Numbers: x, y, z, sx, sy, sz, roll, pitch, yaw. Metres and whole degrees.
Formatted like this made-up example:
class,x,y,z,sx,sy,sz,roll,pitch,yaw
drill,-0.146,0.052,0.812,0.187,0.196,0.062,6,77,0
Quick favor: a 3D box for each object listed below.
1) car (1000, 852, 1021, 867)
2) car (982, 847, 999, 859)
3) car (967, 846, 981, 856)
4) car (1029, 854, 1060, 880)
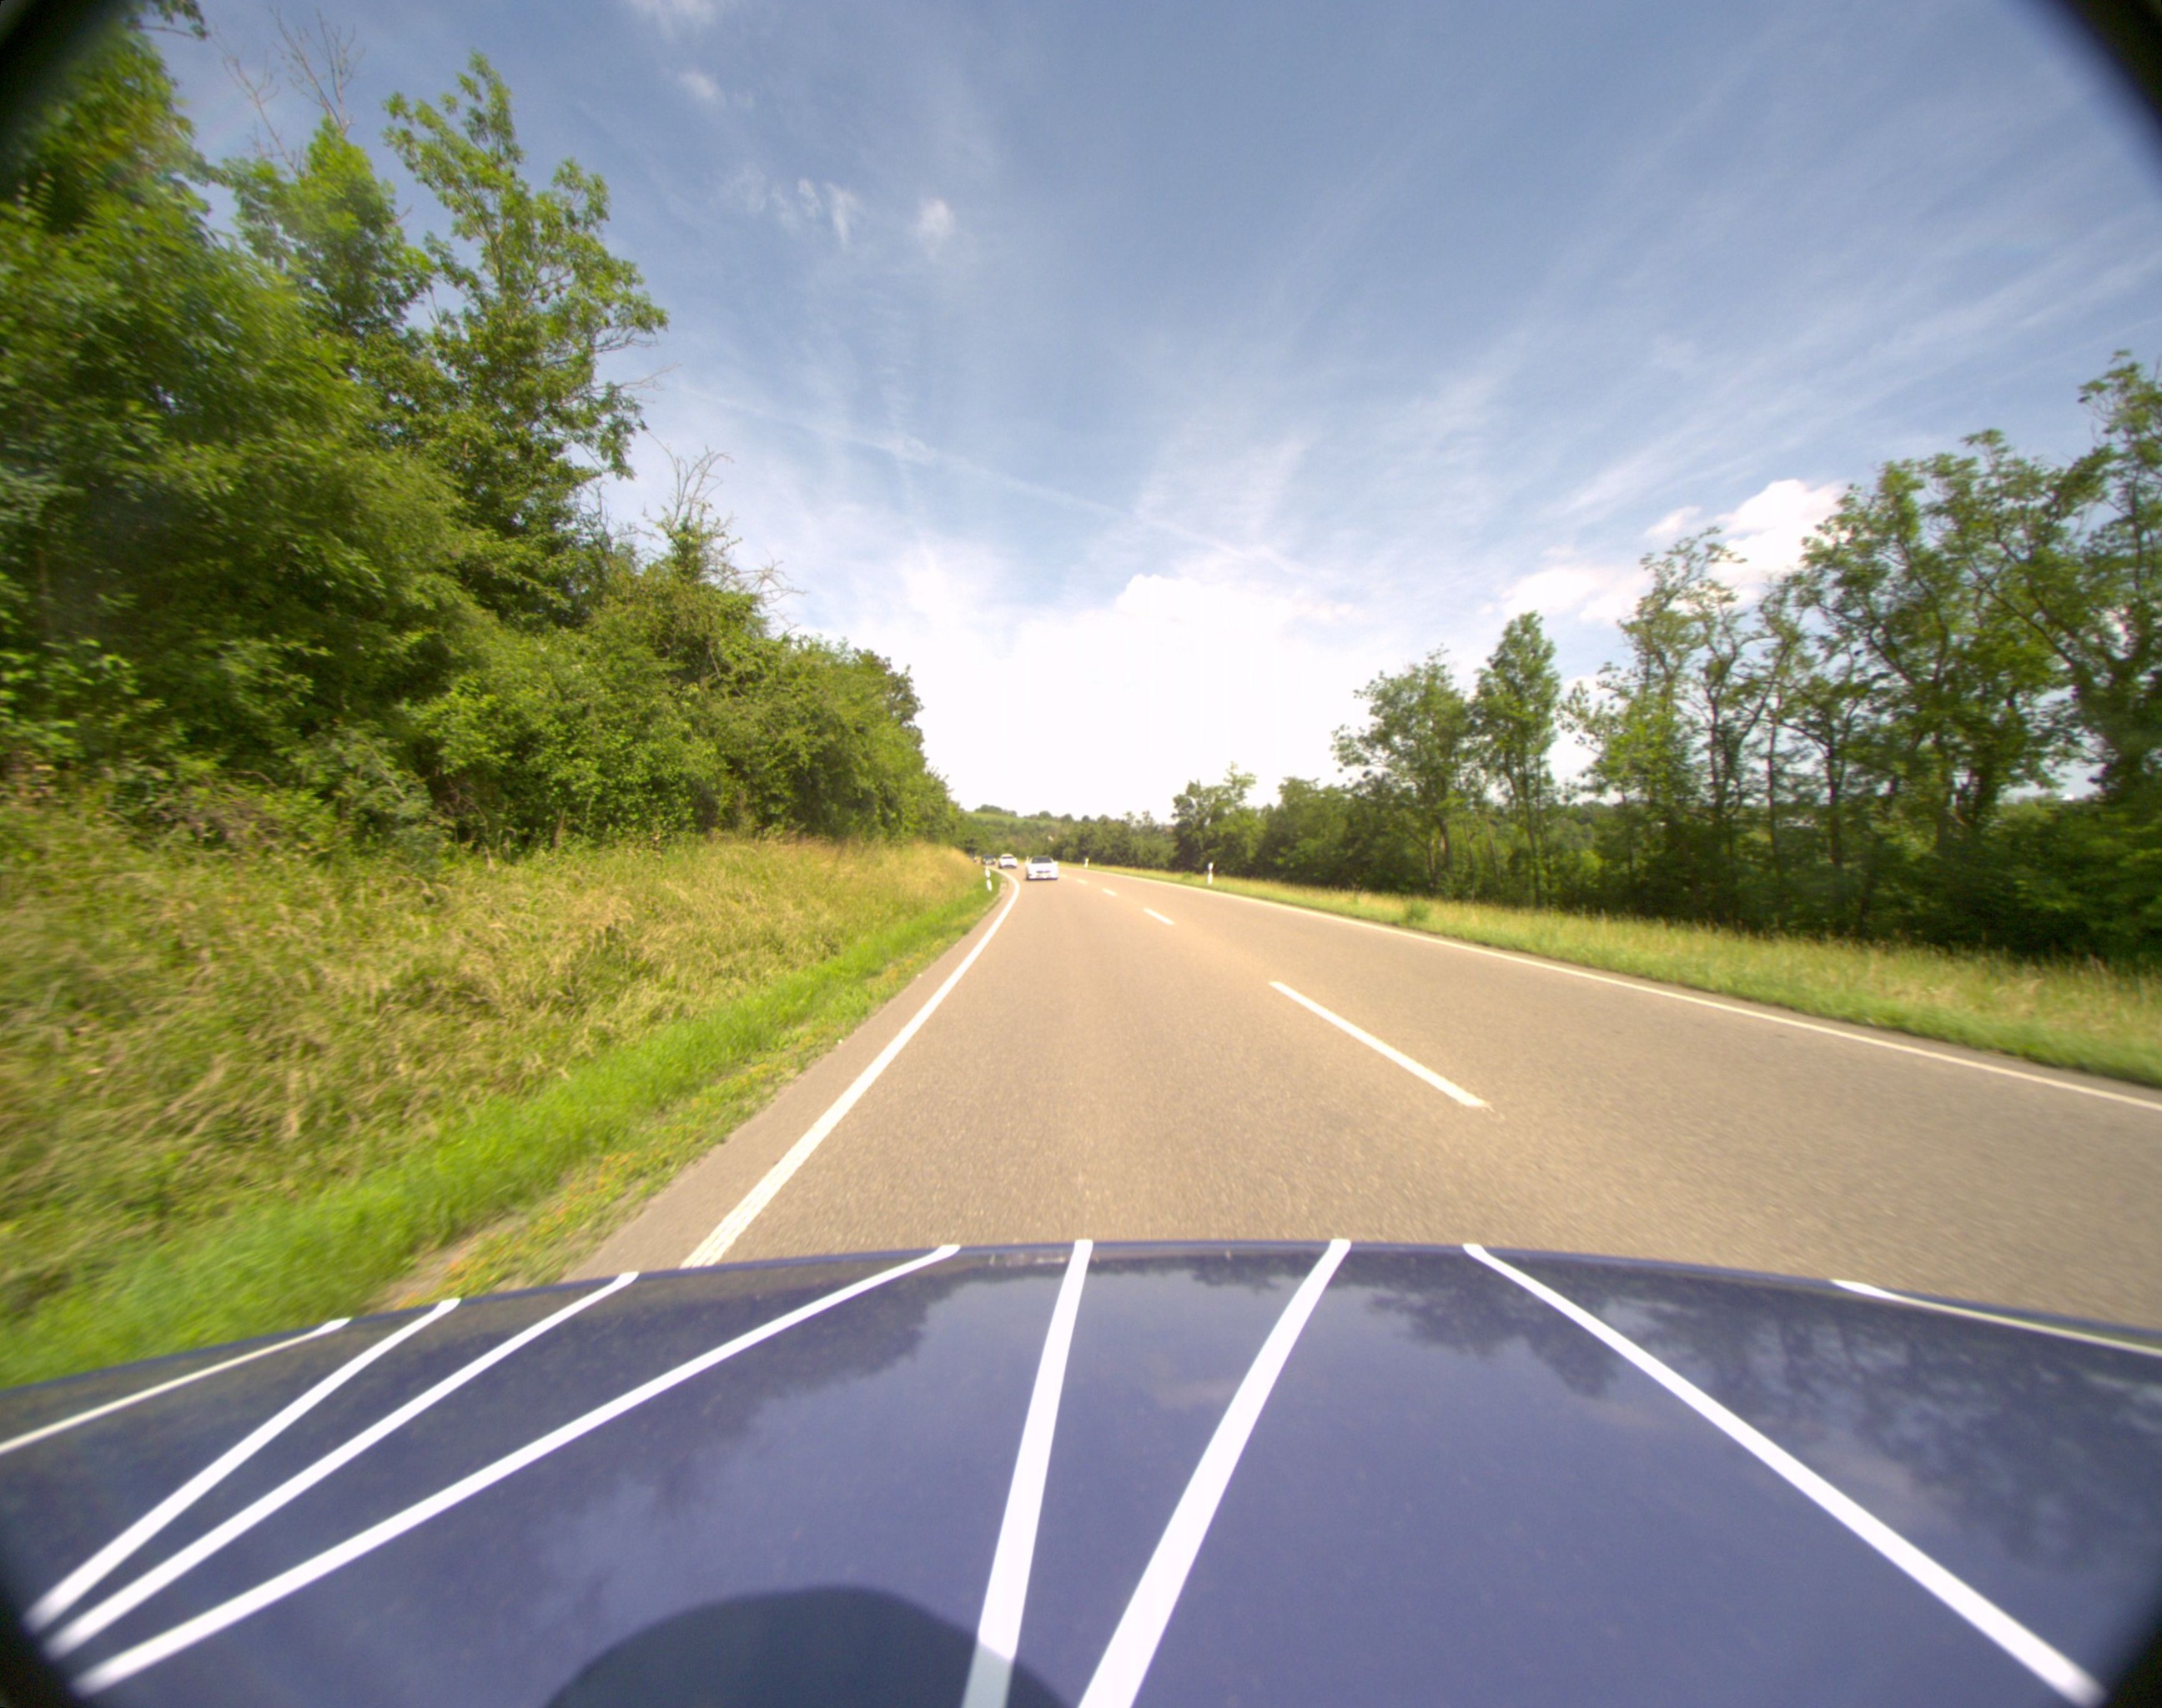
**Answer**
class,x,y,z,sx,sy,sz,roll,pitch,yaw
car,-7.759,0.572,83.416,1.868,1.480,3.996,-3,1,-10
car,-13.004,-0.121,108.922,1.827,1.510,3.994,3,0,-16
car,-18.522,-0.519,131.433,1.668,1.641,3.994,3,0,-16
car,-2.323,0.760,47.127,1.773,1.437,3.998,-2,1,-4
